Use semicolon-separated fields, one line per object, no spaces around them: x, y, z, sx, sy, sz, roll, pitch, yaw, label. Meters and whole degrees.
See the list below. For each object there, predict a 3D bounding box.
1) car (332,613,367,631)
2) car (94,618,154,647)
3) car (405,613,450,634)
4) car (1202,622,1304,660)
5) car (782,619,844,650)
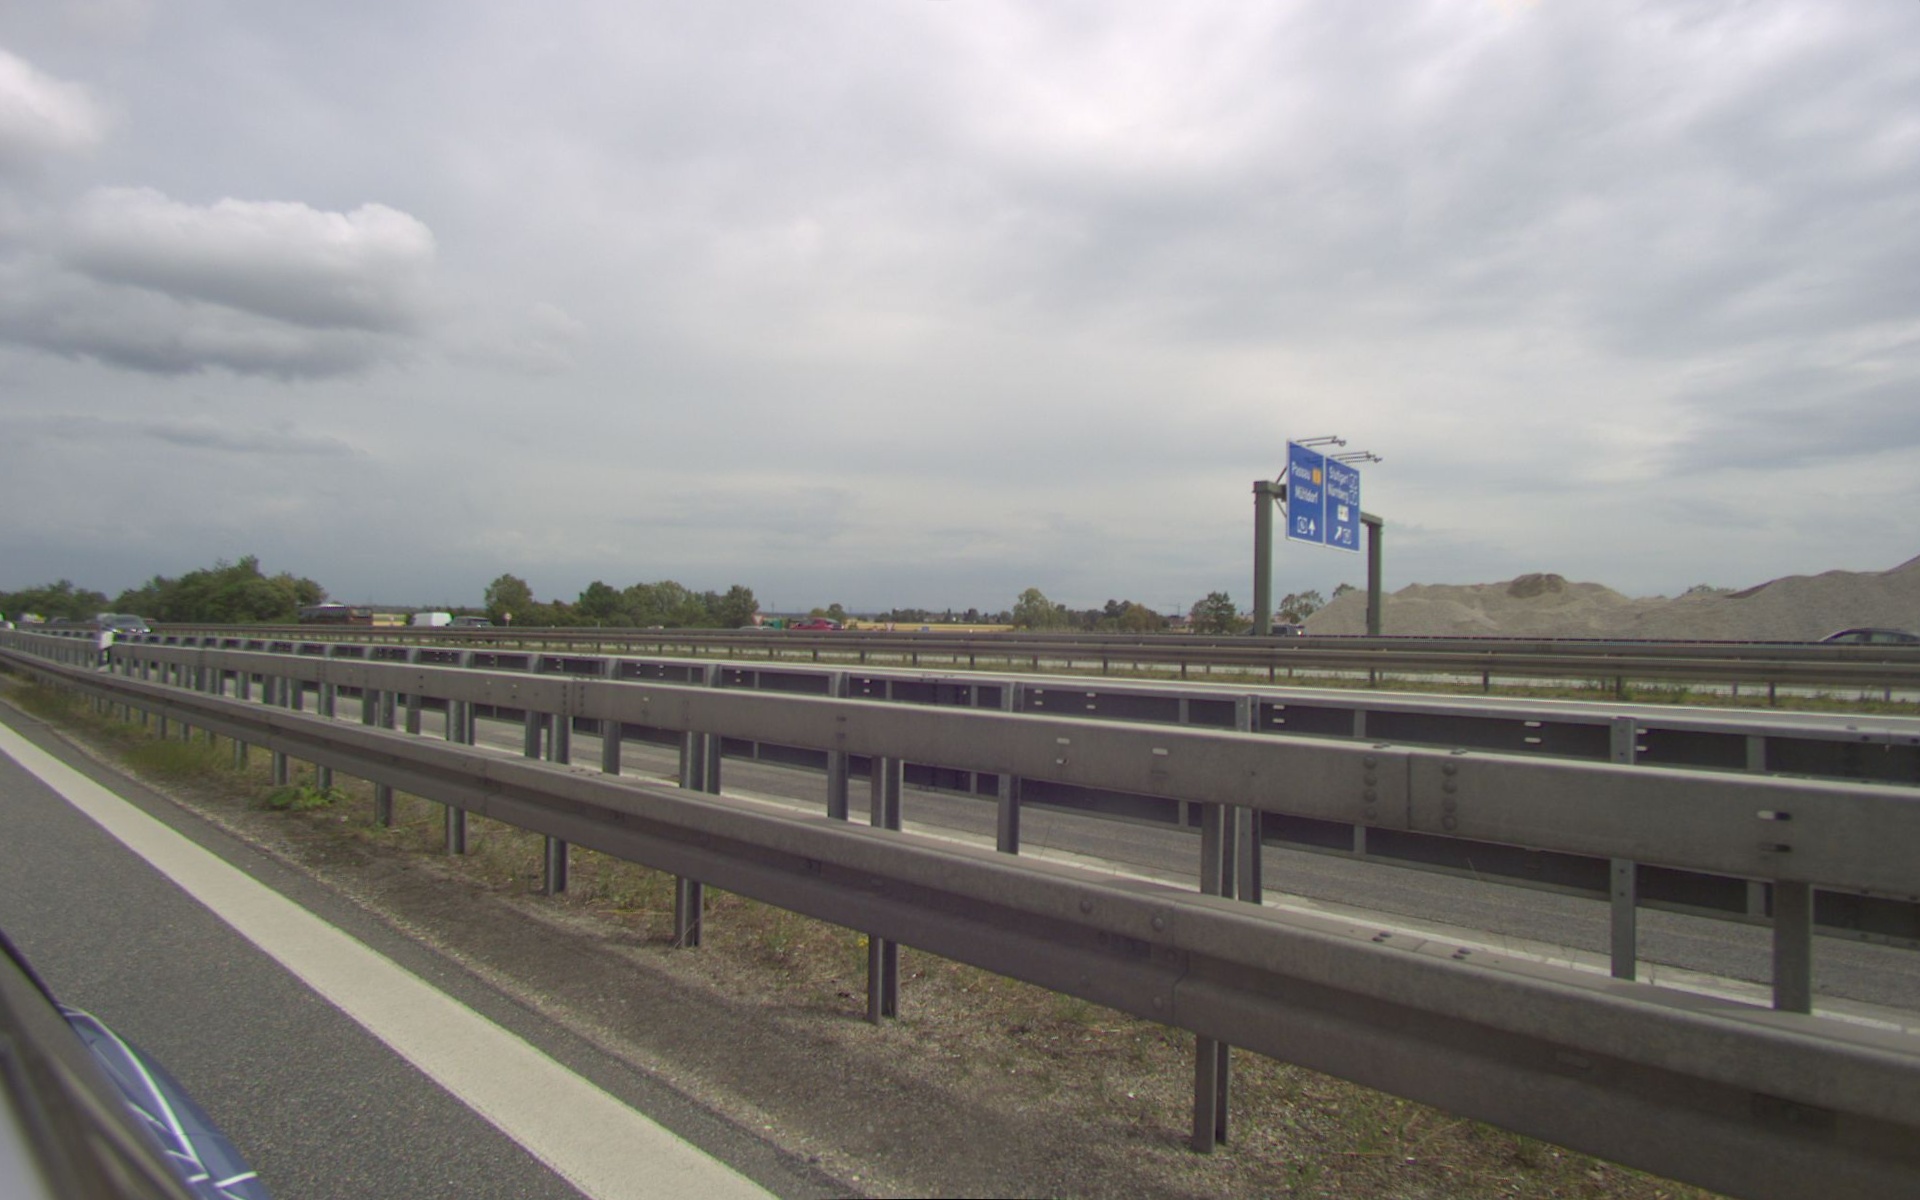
-65.266;2.367;108.191;3.992;1.874;1.809;-1;0;36;car
-48.410;1.833;58.554;4.610;1.558;1.862;-1;0;40;car
-50.777;2.230;96.449;4.745;1.874;2.081;-1;0;39;car
12.883;1.766;44.636;3.995;1.506;1.666;-1;1;39;car
-9.403;2.152;64.528;3.998;1.874;1.779;-1;0;42;car
